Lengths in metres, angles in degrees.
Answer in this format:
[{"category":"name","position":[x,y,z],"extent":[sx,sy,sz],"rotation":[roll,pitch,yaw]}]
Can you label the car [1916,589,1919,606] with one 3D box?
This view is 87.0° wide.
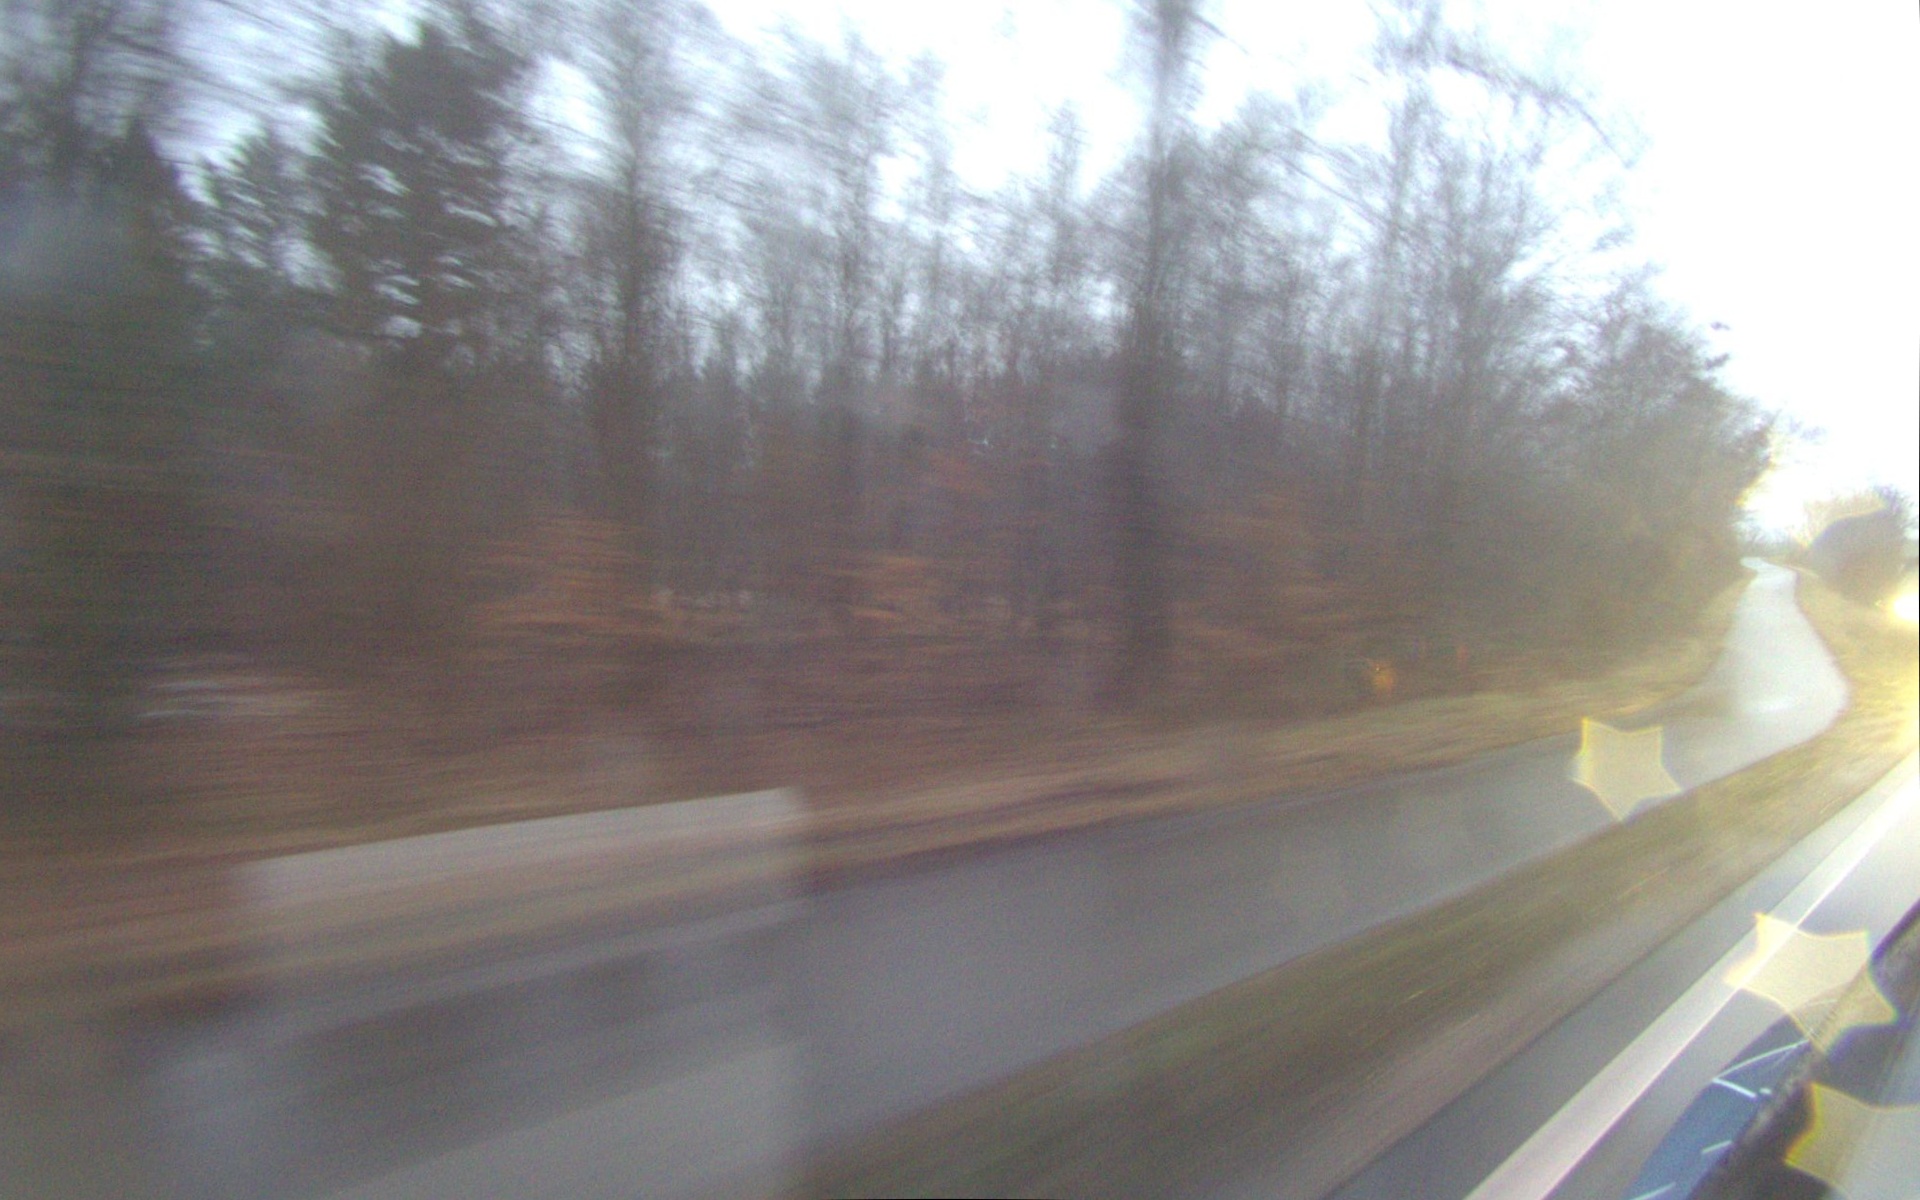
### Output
[{"category":"car","position":[109.813,-0.292,114.898],"extent":[1.695,1.752,3.943],"rotation":[0,2,40]}]
